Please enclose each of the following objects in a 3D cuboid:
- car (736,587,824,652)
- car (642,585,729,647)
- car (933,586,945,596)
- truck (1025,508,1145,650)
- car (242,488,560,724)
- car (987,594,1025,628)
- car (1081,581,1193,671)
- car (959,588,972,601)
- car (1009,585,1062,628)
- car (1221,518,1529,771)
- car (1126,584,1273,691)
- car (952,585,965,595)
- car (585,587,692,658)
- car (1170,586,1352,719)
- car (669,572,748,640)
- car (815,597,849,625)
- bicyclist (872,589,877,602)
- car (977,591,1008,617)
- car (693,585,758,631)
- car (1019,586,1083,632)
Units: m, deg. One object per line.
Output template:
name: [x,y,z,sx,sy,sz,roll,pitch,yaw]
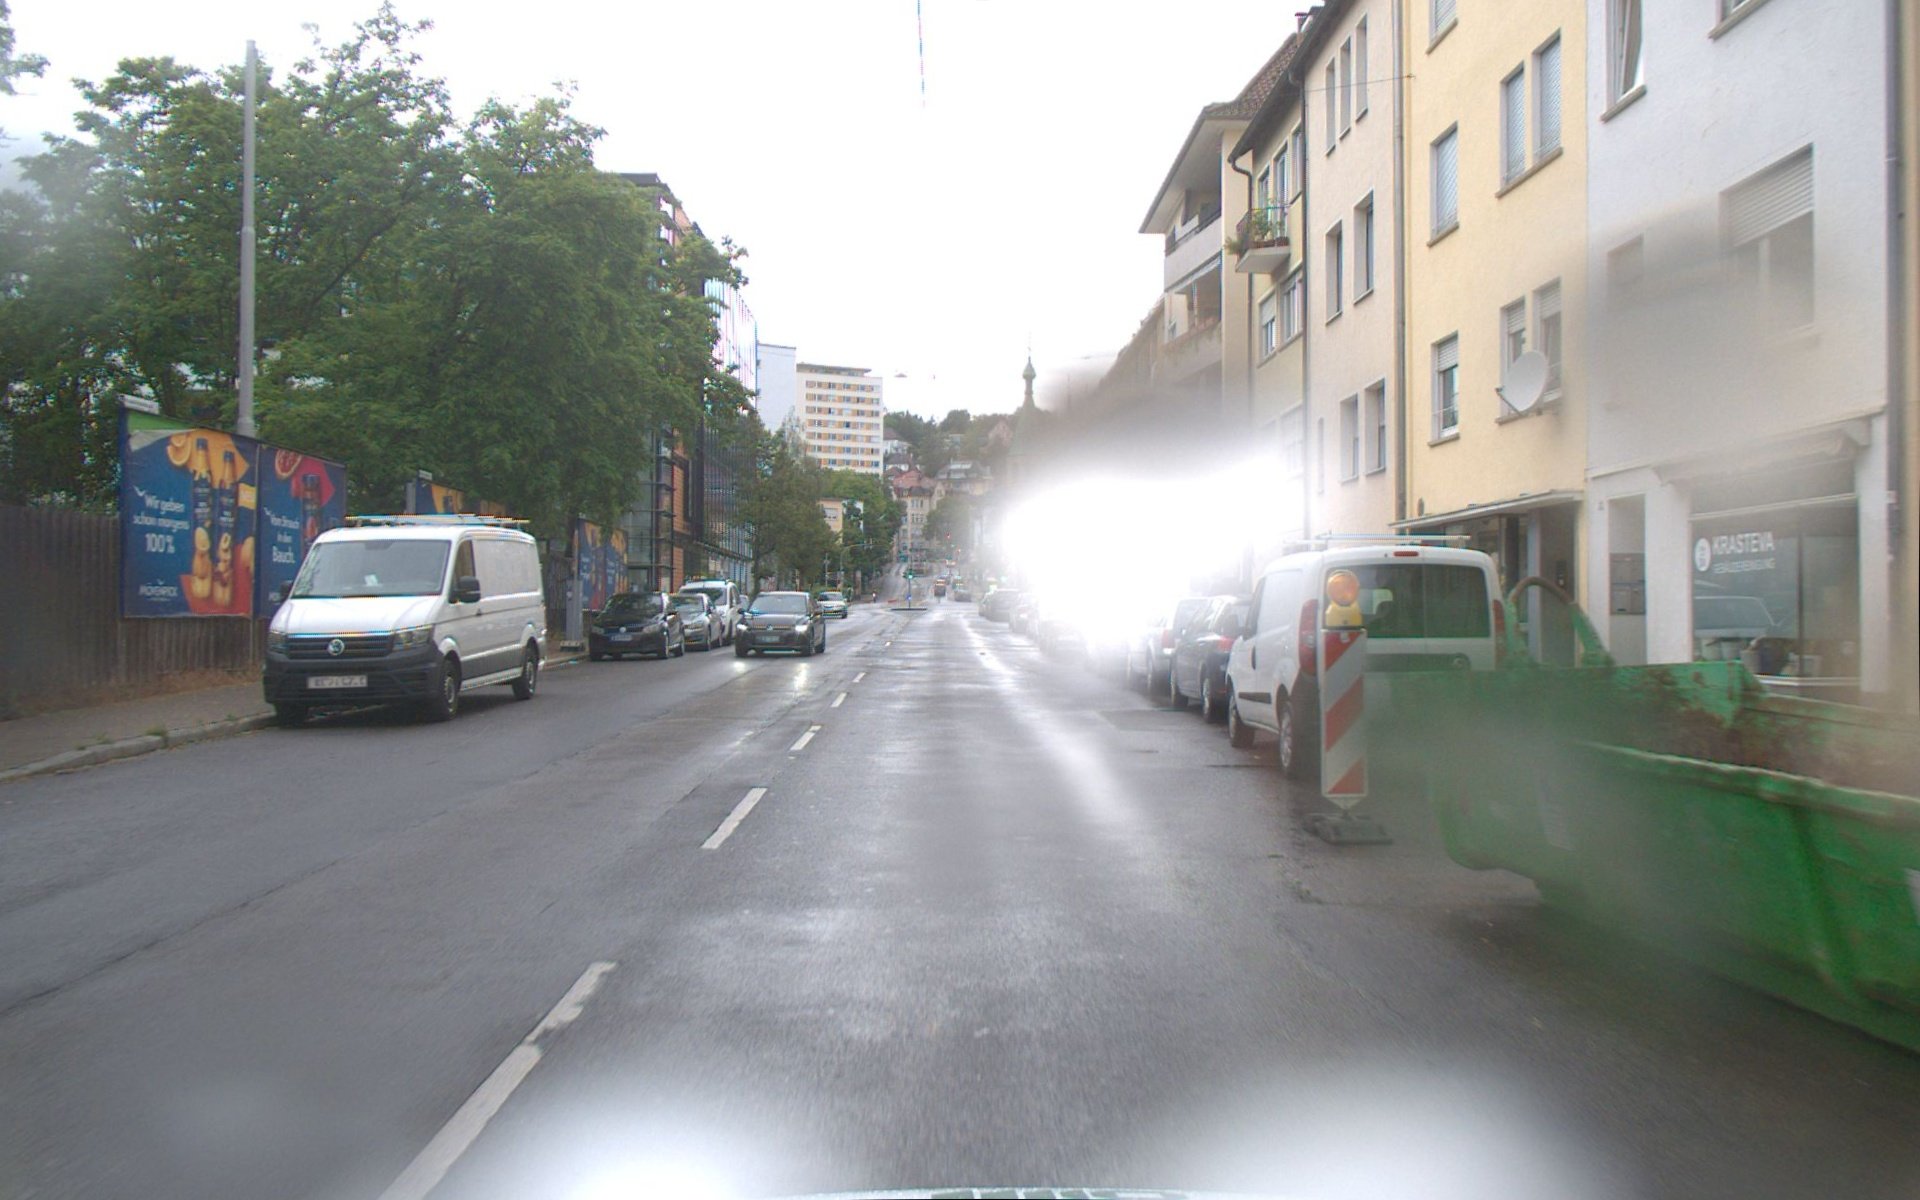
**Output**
car: [-4.180,0.436,38.958,1.769,1.440,4.381,0,0,-3]
car: [-7.051,0.403,42.887,1.648,1.488,4.275,-1,0,-2]
car: [-3.239,-1.329,253.377,1.869,1.537,3.999,1,0,-1]
truck: [2.988,-0.478,41.265,2.419,3.228,7.035,0,0,0]
car: [-6.816,0.039,21.018,1.971,2.530,5.983,-1,0,0]
car: [2.393,0.565,87.021,1.781,1.681,4.075,1,0,-1]
car: [3.286,0.448,31.404,1.629,1.601,4.097,0,0,-1]
car: [0.753,-0.729,221.871,1.696,1.682,4.001,0,0,2]
car: [2.774,0.249,61.433,1.630,1.528,3.919,0,0,-2]
car: [3.566,0.334,14.993,1.780,1.958,4.239,0,0,1]
car: [3.631,0.525,25.682,1.629,1.526,4.097,0,0,-1]
car: [-0.266,-1.533,258.484,1.854,1.536,3.999,1,0,-1]
car: [-6.948,0.477,36.089,1.648,1.423,3.909,-1,0,-2]
car: [3.610,0.579,20.362,1.545,1.496,3.501,0,0,-1]
car: [-7.189,0.176,47.680,1.689,1.832,4.342,-1,0,-2]
car: [-7.132,0.628,92.215,1.675,1.476,4.292,-1,0,-2]
bicyclist: [-11.188,-0.602,216.186,0.663,1.690,0.649,0,-1,-4]
car: [2.013,0.230,104.343,1.781,1.549,4.075,1,0,-1]
car: [-7.481,0.266,53.080,1.689,1.400,4.341,-1,0,-3]
car: [2.977,0.298,54.685,1.630,1.446,3.918,0,0,-4]
